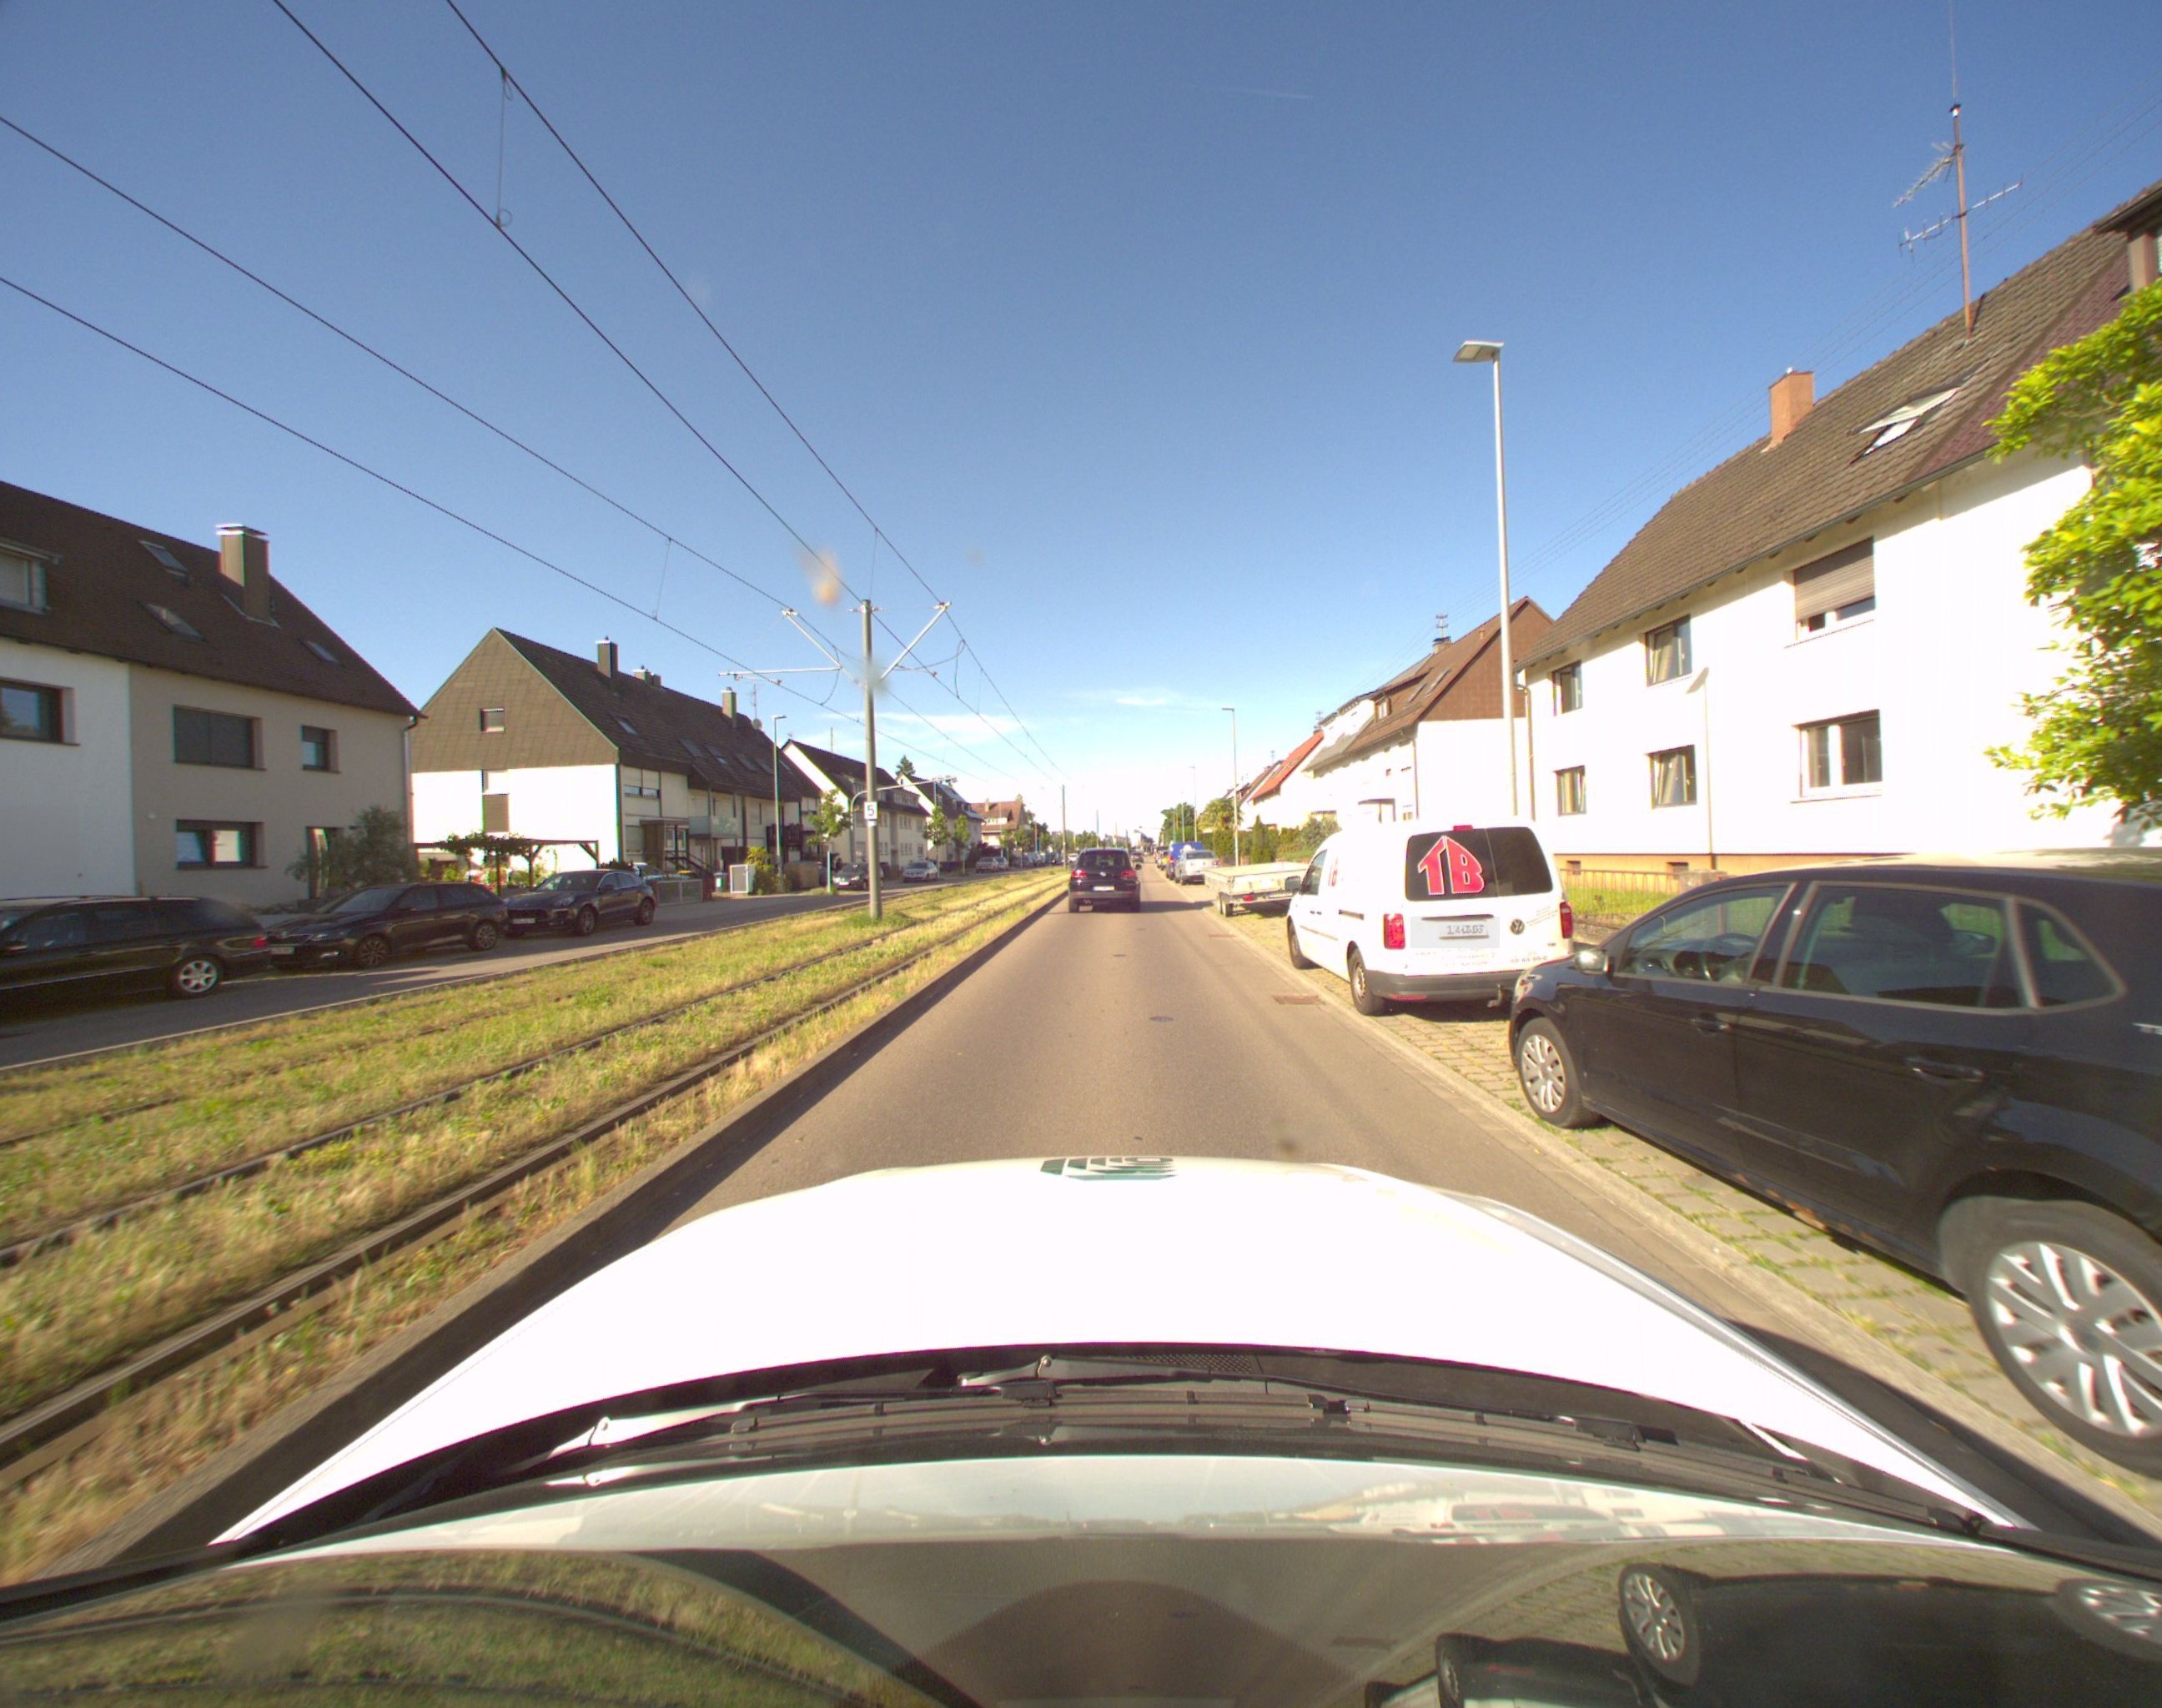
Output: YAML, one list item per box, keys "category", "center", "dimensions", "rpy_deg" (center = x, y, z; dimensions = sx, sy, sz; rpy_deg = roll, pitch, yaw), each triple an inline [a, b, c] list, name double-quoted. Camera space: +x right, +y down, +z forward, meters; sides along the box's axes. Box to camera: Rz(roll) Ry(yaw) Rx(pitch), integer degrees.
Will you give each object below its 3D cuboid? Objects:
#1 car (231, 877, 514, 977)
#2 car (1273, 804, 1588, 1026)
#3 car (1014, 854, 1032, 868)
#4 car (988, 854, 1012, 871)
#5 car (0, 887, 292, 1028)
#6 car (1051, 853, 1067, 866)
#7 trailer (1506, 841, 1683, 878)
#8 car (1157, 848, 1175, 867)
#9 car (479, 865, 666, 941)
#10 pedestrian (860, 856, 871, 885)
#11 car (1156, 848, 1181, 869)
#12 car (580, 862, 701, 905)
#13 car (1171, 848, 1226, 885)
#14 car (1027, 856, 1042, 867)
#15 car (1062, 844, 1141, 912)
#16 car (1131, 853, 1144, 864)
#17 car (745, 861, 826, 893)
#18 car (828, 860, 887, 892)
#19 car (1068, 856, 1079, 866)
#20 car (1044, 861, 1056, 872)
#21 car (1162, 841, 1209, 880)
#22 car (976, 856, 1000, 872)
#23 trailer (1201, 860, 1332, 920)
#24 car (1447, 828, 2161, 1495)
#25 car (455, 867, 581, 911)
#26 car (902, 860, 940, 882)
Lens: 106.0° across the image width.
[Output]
- category: "car"
  center: [-13.168, 1.267, 15.544]
  dimensions: [1.514, 1.475, 4.204]
  rpy_deg: [-2, 0, 3]
- category: "car"
  center: [3.441, 0.501, 9.083]
  dimensions: [1.683, 1.776, 4.659]
  rpy_deg: [-2, 0, 3]
- category: "car"
  center: [-7.120, 0.867, 100.556]
  dimensions: [1.653, 1.581, 4.003]
  rpy_deg: [-2, -2, 3]
- category: "car"
  center: [-8.394, 0.865, 84.467]
  dimensions: [1.796, 1.631, 4.003]
  rpy_deg: [-2, 0, 3]
- category: "car"
  center: [-13.441, 1.287, 10.316]
  dimensions: [1.868, 1.523, 4.887]
  rpy_deg: [-1, 0, 5]
- category: "car"
  center: [-3.003, 0.792, 112.847]
  dimensions: [1.866, 1.655, 4.002]
  rpy_deg: [-2, -2, 3]
- category: "trailer"
  center: [17.029, 0.169, 27.175]
  dimensions: [4.782, 1.028, 1.646]
  rpy_deg: [-2, 0, 5]
- category: "car"
  center: [7.491, 0.320, 71.980]
  dimensions: [1.445, 1.551, 3.834]
  rpy_deg: [-2, 0, 4]
- category: "car"
  center: [-12.873, 1.164, 21.062]
  dimensions: [1.797, 1.597, 4.811]
  rpy_deg: [-2, 0, -1]
- category: "pedestrian"
  center: [-12.926, 0.993, 48.840]
  dimensions: [0.466, 1.746, 0.536]
  rpy_deg: [-2, 0, 2]
- category: "car"
  center: [6.884, 0.361, 64.339]
  dimensions: [1.638, 1.534, 3.867]
  rpy_deg: [-2, 0, 3]
- category: "car"
  center: [-18.887, 1.255, 35.066]
  dimensions: [4.154, 1.616, 1.758]
  rpy_deg: [-2, 0, -2]
- category: "car"
  center: [5.121, 0.512, 36.046]
  dimensions: [1.780, 1.441, 4.460]
  rpy_deg: [-3, 0, 1]
- category: "car"
  center: [-6.083, 0.952, 106.429]
  dimensions: [1.509, 1.361, 3.592]
  rpy_deg: [-2, 0, 2]
- category: "car"
  center: [0.452, 0.602, 22.151]
  dimensions: [1.808, 1.671, 4.252]
  rpy_deg: [0, -1, -3]
- category: "car"
  center: [7.647, 0.599, 110.422]
  dimensions: [1.566, 1.391, 3.617]
  rpy_deg: [-2, 0, 3]
- category: "car"
  center: [-16.595, 1.273, 45.930]
  dimensions: [3.896, 1.568, 1.731]
  rpy_deg: [-3, 0, -5]
- category: "car"
  center: [-11.603, 1.126, 42.480]
  dimensions: [1.610, 1.453, 3.726]
  rpy_deg: [-2, 0, 7]
- category: "car"
  center: [-1.127, 1.115, 126.997]
  dimensions: [1.459, 1.454, 3.290]
  rpy_deg: [-2, -1, 3]
- category: "car"
  center: [-4.619, 1.866, 123.358]
  dimensions: [1.459, 1.677, 3.290]
  rpy_deg: [-2, -1, 3]
- category: "car"
  center: [5.384, 0.316, 42.419]
  dimensions: [1.985, 1.862, 4.921]
  rpy_deg: [-2, 0, 3]
- category: "car"
  center: [-8.945, 0.949, 78.320]
  dimensions: [1.652, 1.496, 3.582]
  rpy_deg: [-2, 0, 3]
- category: "trailer"
  center: [4.216, 0.768, 19.277]
  dimensions: [2.196, 1.094, 4.373]
  rpy_deg: [-3, 0, 2]
- category: "car"
  center: [3.270, 0.665, 3.483]
  dimensions: [1.664, 1.453, 4.128]
  rpy_deg: [-2, 0, 3]
- category: "car"
  center: [-24.166, 1.489, 35.051]
  dimensions: [4.138, 1.654, 1.860]
  rpy_deg: [-2, 0, 5]
- category: "car"
  center: [-10.797, 1.153, 55.217]
  dimensions: [1.612, 1.409, 3.720]
  rpy_deg: [-2, -2, 3]
